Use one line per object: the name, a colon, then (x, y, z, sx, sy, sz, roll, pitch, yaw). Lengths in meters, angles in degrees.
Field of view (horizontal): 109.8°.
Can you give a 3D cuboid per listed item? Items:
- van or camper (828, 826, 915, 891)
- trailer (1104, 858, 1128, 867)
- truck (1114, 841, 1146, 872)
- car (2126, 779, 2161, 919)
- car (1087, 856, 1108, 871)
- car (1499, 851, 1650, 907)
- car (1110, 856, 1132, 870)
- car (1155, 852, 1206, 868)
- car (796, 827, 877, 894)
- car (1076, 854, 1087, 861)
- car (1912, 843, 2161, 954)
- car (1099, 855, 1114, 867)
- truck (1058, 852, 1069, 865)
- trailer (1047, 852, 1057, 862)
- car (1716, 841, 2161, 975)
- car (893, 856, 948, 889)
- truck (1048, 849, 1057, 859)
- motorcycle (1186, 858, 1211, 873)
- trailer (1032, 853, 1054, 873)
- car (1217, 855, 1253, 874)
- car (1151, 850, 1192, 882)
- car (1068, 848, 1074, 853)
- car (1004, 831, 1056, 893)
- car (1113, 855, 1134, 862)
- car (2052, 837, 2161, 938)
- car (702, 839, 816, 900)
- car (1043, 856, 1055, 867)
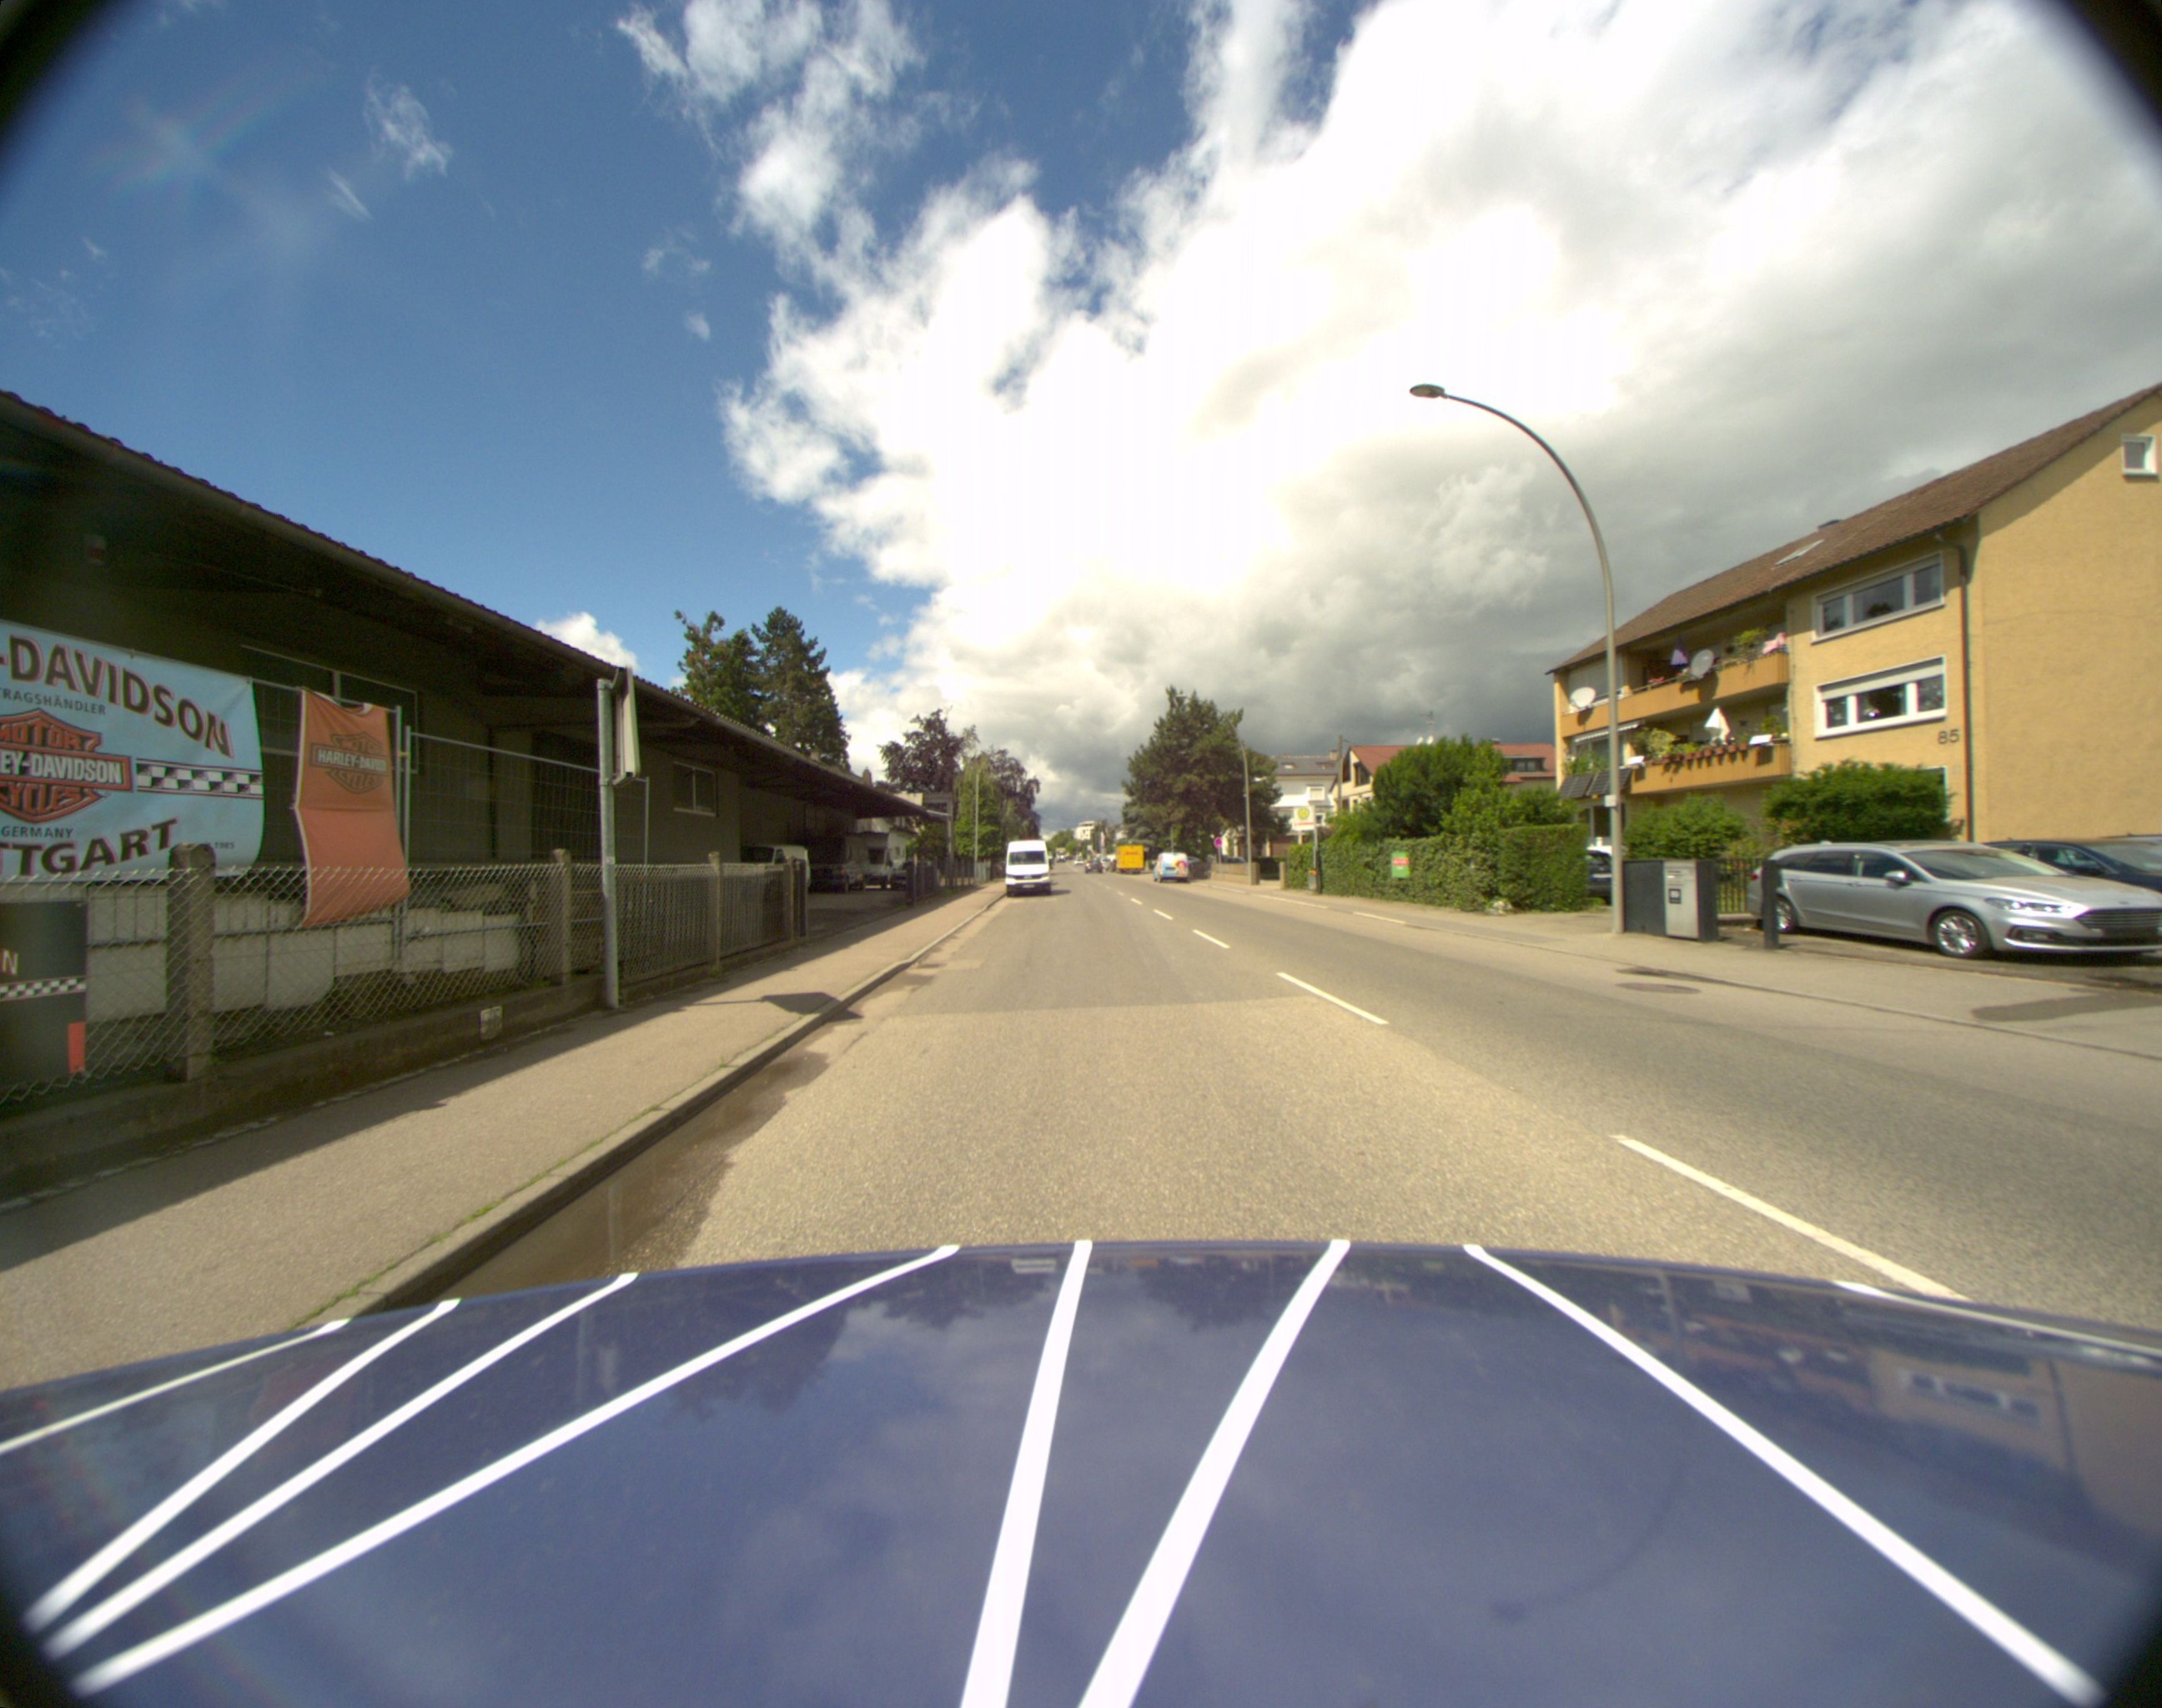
van or camper: (-10.652, 0.213, 39.322, 2.889, 3.043, 6.911, -1, 0, -3)
trailer: (4.149, 0.992, 92.216, 2.324, 0.985, 7.457, 0, 0, -2)
truck: (4.960, 0.219, 78.213, 2.330, 2.985, 7.816, 1, 0, -3)
car: (20.312, -0.072, 10.825, 2.418, 2.481, 6.135, 1, 0, 1)
car: (1.659, 0.935, 79.480, 1.906, 1.509, 4.317, 0, 0, -3)
car: (13.821, 0.642, 21.625, 1.849, 1.418, 4.332, -1, 0, 6)
car: (4.470, 1.013, 85.910, 1.999, 1.445, 4.811, 3, 0, -1)
car: (10.533, 0.620, 80.731, 5.022, 1.543, 1.972, -1, 1, -3)
car: (-10.576, 0.320, 33.299, 2.023, 2.665, 5.497, -1, -1, -3)
car: (0.145, 0.669, 154.032, 1.988, 1.412, 3.998, 0, 0, -4)
car: (15.035, 0.558, 10.964, 1.848, 1.418, 4.334, -1, 0, 10)
car: (3.697, 0.992, 110.048, 1.809, 1.666, 4.127, 1, 0, -2)
truck: (-4.770, 1.258, 209.674, 2.881, 3.290, 8.605, -3, 1, -2)
trailer: (-6.407, 0.565, 169.758, 2.045, 2.214, 5.078, 0, 0, -1)
car: (12.178, 0.595, 11.102, 1.997, 1.477, 5.344, -1, 0, 9)
car: (-7.811, 0.887, 37.319, 1.769, 1.480, 4.926, -1, -1, -2)
truck: (-8.253, -0.145, 221.339, 2.411, 2.722, 6.639, -3, 1, -2)
motorcycle: (9.483, 0.936, 61.191, 1.872, 1.158, 0.825, -1, 0, 15)
trailer: (-3.769, 0.891, 75.227, 1.999, 1.812, 4.764, -3, 0, -2)
car: (12.580, 0.827, 62.431, 1.772, 1.534, 4.085, -1, 0, -6)
car: (5.691, 0.756, 48.327, 1.838, 1.842, 4.895, 2, -1, -2)
car: (-3.306, -1.064, 248.364, 1.860, 1.685, 3.998, -1, 0, -6)
car: (-2.391, 0.361, 36.294, 2.221, 2.673, 6.655, 0, 0, -3)
car: (8.752, 0.876, 156.812, 4.047, 1.485, 1.675, 0, 0, -3)
car: (17.454, 0.509, 10.934, 1.848, 1.568, 4.334, -1, 0, 10)
car: (-11.009, 0.517, 26.429, 1.999, 1.898, 4.852, -1, -1, -2)
car: (-5.185, 1.229, 123.266, 1.811, 1.566, 4.187, -3, 0, -1)
